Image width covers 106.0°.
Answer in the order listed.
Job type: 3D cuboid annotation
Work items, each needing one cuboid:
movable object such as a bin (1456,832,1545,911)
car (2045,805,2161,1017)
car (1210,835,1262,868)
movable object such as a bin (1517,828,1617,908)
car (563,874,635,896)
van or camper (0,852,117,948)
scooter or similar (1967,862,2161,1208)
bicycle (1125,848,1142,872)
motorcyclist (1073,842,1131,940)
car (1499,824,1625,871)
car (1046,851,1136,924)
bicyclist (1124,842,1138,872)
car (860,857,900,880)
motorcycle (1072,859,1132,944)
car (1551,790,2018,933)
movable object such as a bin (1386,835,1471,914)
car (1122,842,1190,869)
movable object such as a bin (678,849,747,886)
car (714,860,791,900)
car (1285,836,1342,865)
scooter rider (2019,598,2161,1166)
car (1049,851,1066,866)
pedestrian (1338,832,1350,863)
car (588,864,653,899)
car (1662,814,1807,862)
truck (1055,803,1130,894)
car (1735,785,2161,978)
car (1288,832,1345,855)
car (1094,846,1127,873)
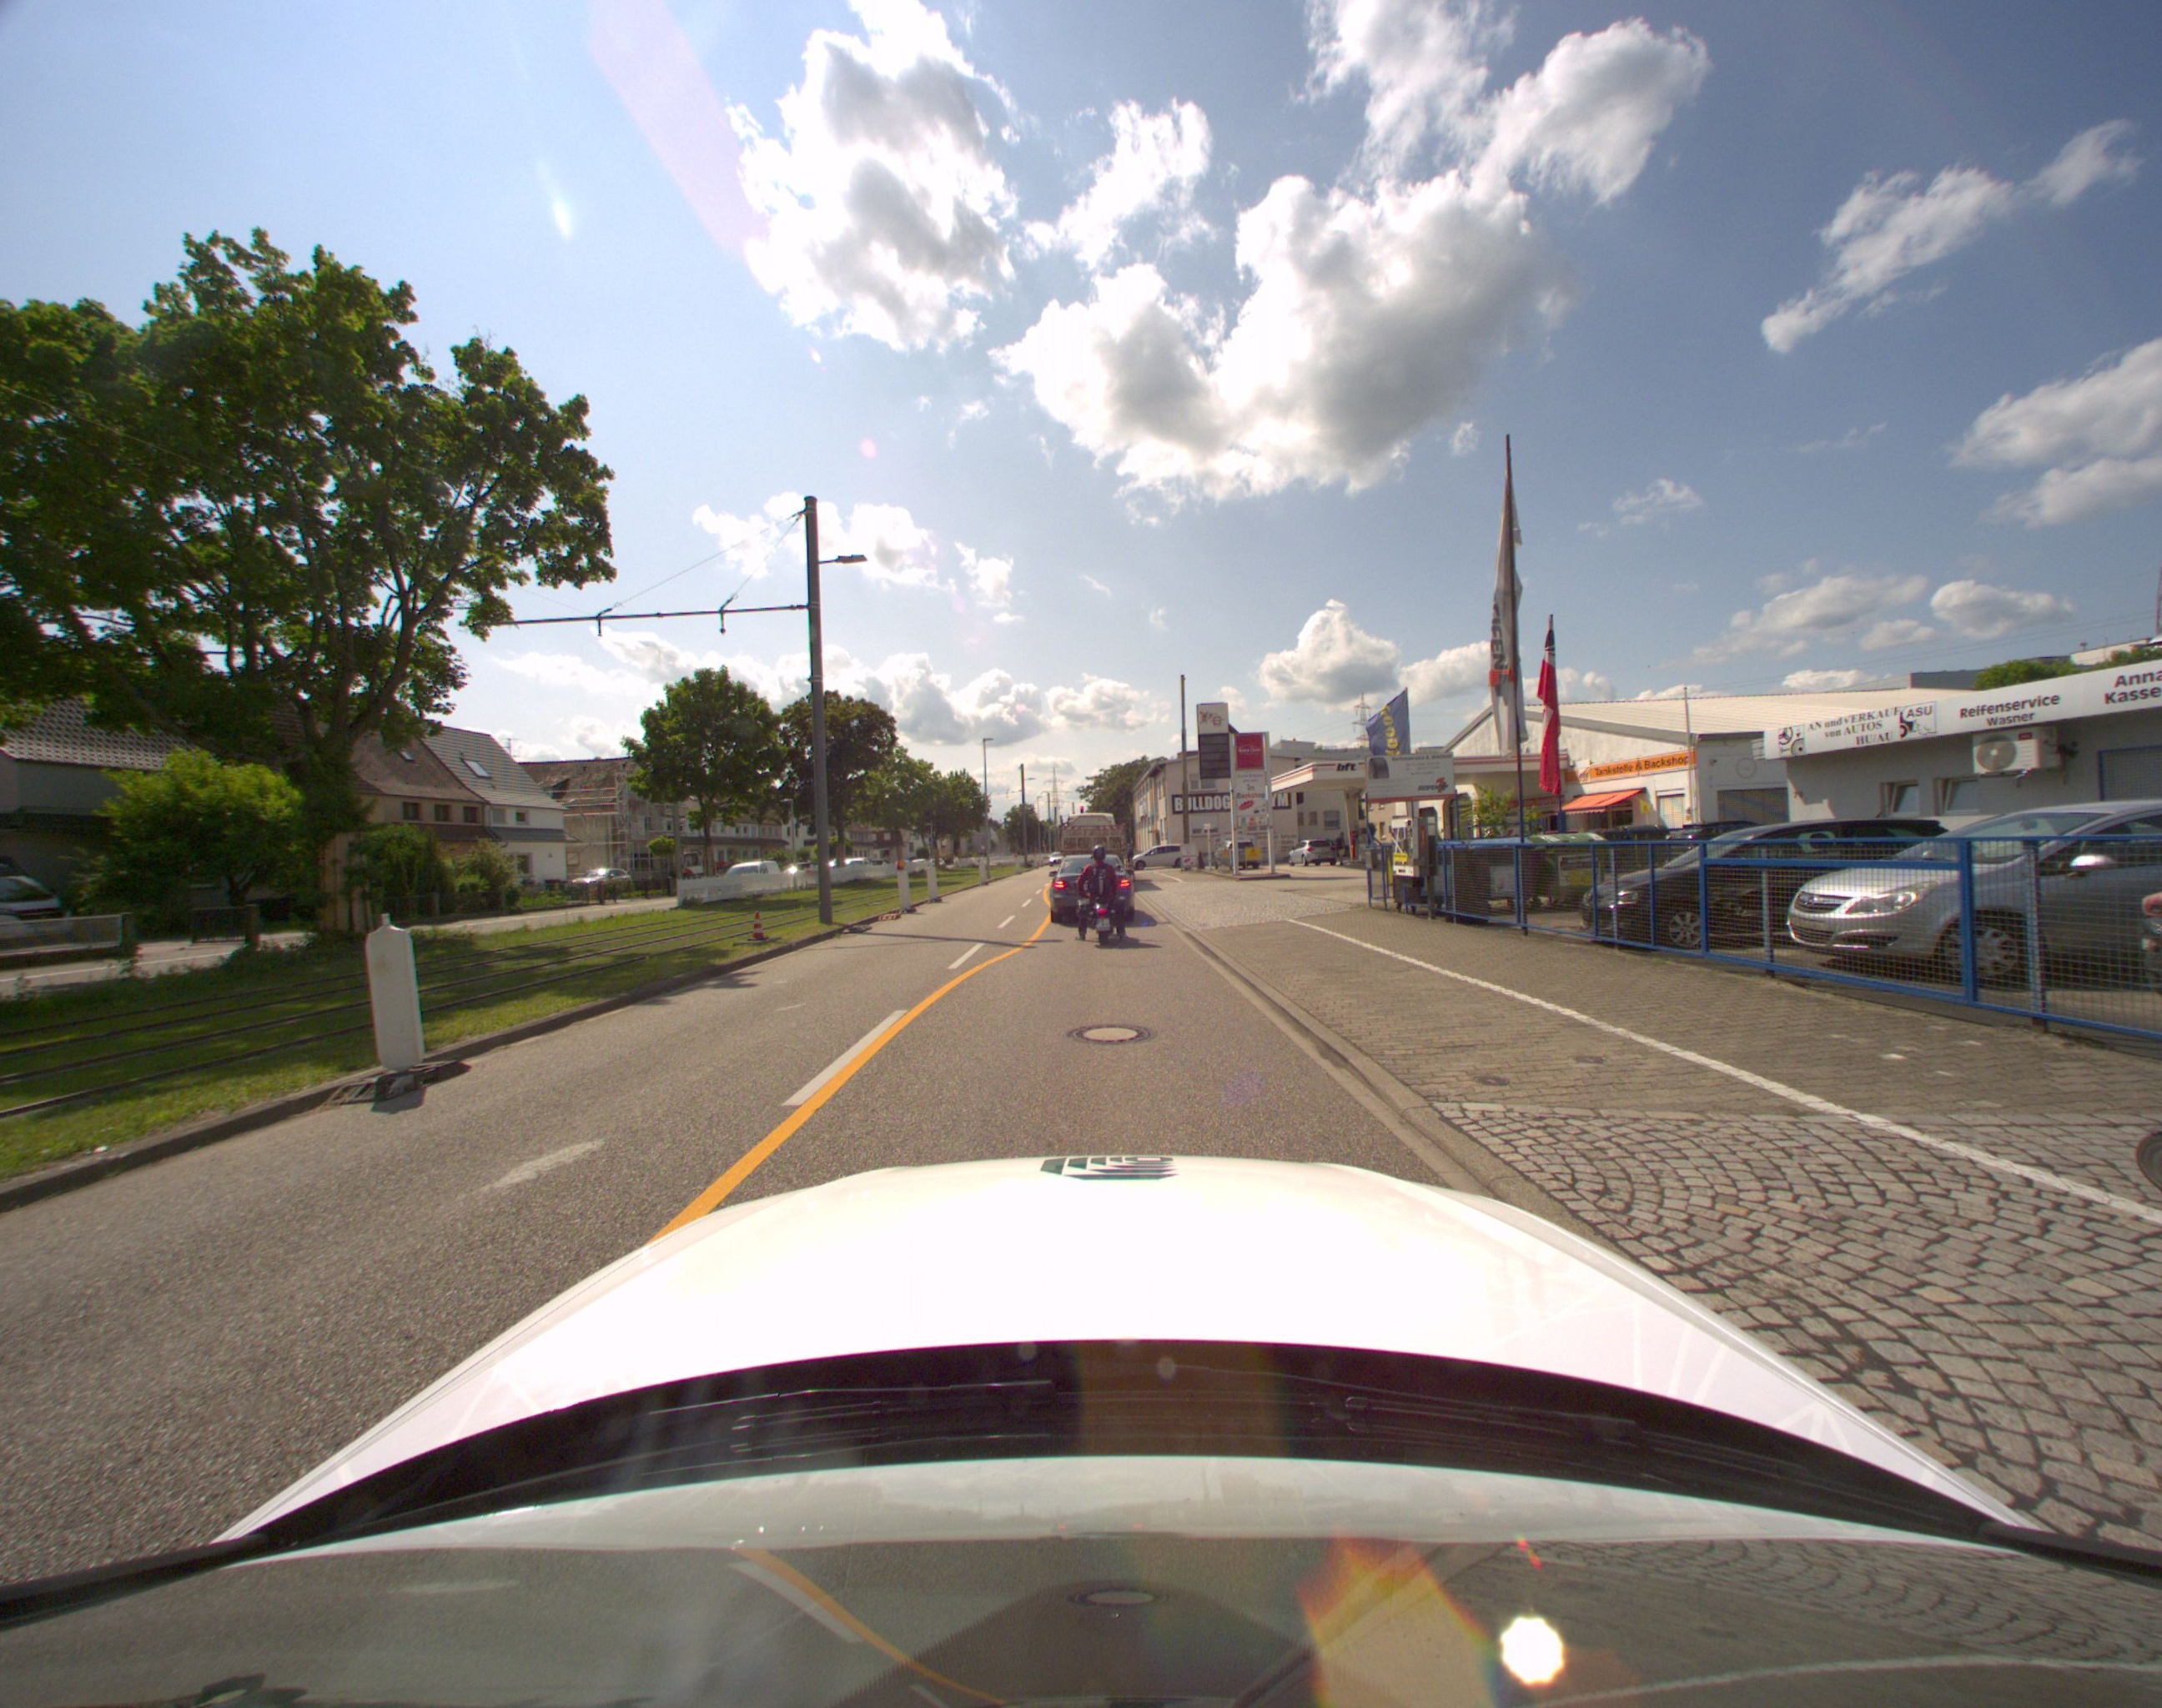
[{"bbox_3d":[8.222,0.335,15.998,1.252,1.444,0.824,-3,-1,1],"label":"movable object such as a bin"},{"bbox_3d":[8.803,0.270,4.687,3.964,1.356,1.825,-3,0,8],"label":"car"},{"bbox_3d":[8.586,-0.096,45.473,1.954,1.648,3.997,-3,0,-1],"label":"car"},{"bbox_3d":[9.544,0.269,16.024,1.319,1.444,0.952,-3,-1,-7],"label":"movable object such as a bin"},{"bbox_3d":[-27.901,1.781,47.297,1.678,1.052,3.982,-3,0,2],"label":"car"},{"bbox_3d":[-32.863,1.245,23.669,6.079,2.639,2.698,1,0,-4],"label":"van or camper"},{"bbox_3d":[4.083,0.648,2.661,0.539,1.195,1.611,-4,0,0],"label":"scooter or similar"},{"bbox_3d":[3.133,0.350,48.447,0.691,1.361,2.416,-3,0,-3],"label":"bicycle"},{"bbox_3d":[0.355,0.607,14.030,0.936,1.615,1.205,0,0,0],"label":"motorcyclist"},{"bbox_3d":[16.333,-0.200,27.759,3.309,1.360,1.612,-3,0,0],"label":"car"},{"bbox_3d":[0.239,0.688,18.777,1.815,1.424,4.000,-2,0,1],"label":"car"},{"bbox_3d":[2.973,0.178,48.416,0.669,1.744,0.813,-2,0,0],"label":"bicyclist"},{"bbox_3d":[-15.779,1.137,64.159,1.987,1.606,4.000,-3,0,1],"label":"car"},{"bbox_3d":[0.355,0.760,14.211,0.936,1.320,2.645,0,0,1],"label":"motorcycle"},{"bbox_3d":[8.257,0.122,10.028,3.955,1.442,1.718,-3,0,18],"label":"car"},{"bbox_3d":[6.853,0.402,16.110,1.252,1.444,0.824,-3,-1,1],"label":"movable object such as a bin"},{"bbox_3d":[5.127,0.116,56.117,4.327,1.551,1.945,-3,0,-8],"label":"car"},{"bbox_3d":[-26.811,0.971,59.398,4.353,2.449,1.776,-3,0,-22],"label":"movable object such as a bin"},{"bbox_3d":[-15.892,1.210,39.620,1.987,1.750,4.000,-3,0,1],"label":"car"},{"bbox_3d":[13.095,-0.174,46.186,1.954,1.420,3.997,-3,0,-1],"label":"car"},{"bbox_3d":[4.084,0.092,2.781,0.714,1.963,0.785,-3,-1,1],"label":"scooter rider"},{"bbox_3d":[-2.443,0.486,85.736,1.650,1.447,4.301,-3,0,-1],"label":"car"},{"bbox_3d":[14.369,-0.351,44.444,0.395,1.689,0.485,-3,-1,2],"label":"pedestrian"},{"bbox_3d":[-24.840,1.472,44.030,1.679,1.721,3.030,-3,0,1],"label":"car"},{"bbox_3d":[21.750,-0.525,27.182,3.484,1.360,1.612,-3,0,0],"label":"car"},{"bbox_3d":[0.546,-0.318,35.022,2.601,3.255,9.185,-3,1,1],"label":"truck"},{"bbox_3d":[8.617,0.205,7.238,3.957,1.496,1.758,-3,0,15],"label":"car"},{"bbox_3d":[18.968,-0.834,65.831,3.975,1.648,1.965,-3,0,-1],"label":"car"},{"bbox_3d":[1.683,0.320,47.881,1.815,1.464,4.001,-2,0,1],"label":"car"}]
